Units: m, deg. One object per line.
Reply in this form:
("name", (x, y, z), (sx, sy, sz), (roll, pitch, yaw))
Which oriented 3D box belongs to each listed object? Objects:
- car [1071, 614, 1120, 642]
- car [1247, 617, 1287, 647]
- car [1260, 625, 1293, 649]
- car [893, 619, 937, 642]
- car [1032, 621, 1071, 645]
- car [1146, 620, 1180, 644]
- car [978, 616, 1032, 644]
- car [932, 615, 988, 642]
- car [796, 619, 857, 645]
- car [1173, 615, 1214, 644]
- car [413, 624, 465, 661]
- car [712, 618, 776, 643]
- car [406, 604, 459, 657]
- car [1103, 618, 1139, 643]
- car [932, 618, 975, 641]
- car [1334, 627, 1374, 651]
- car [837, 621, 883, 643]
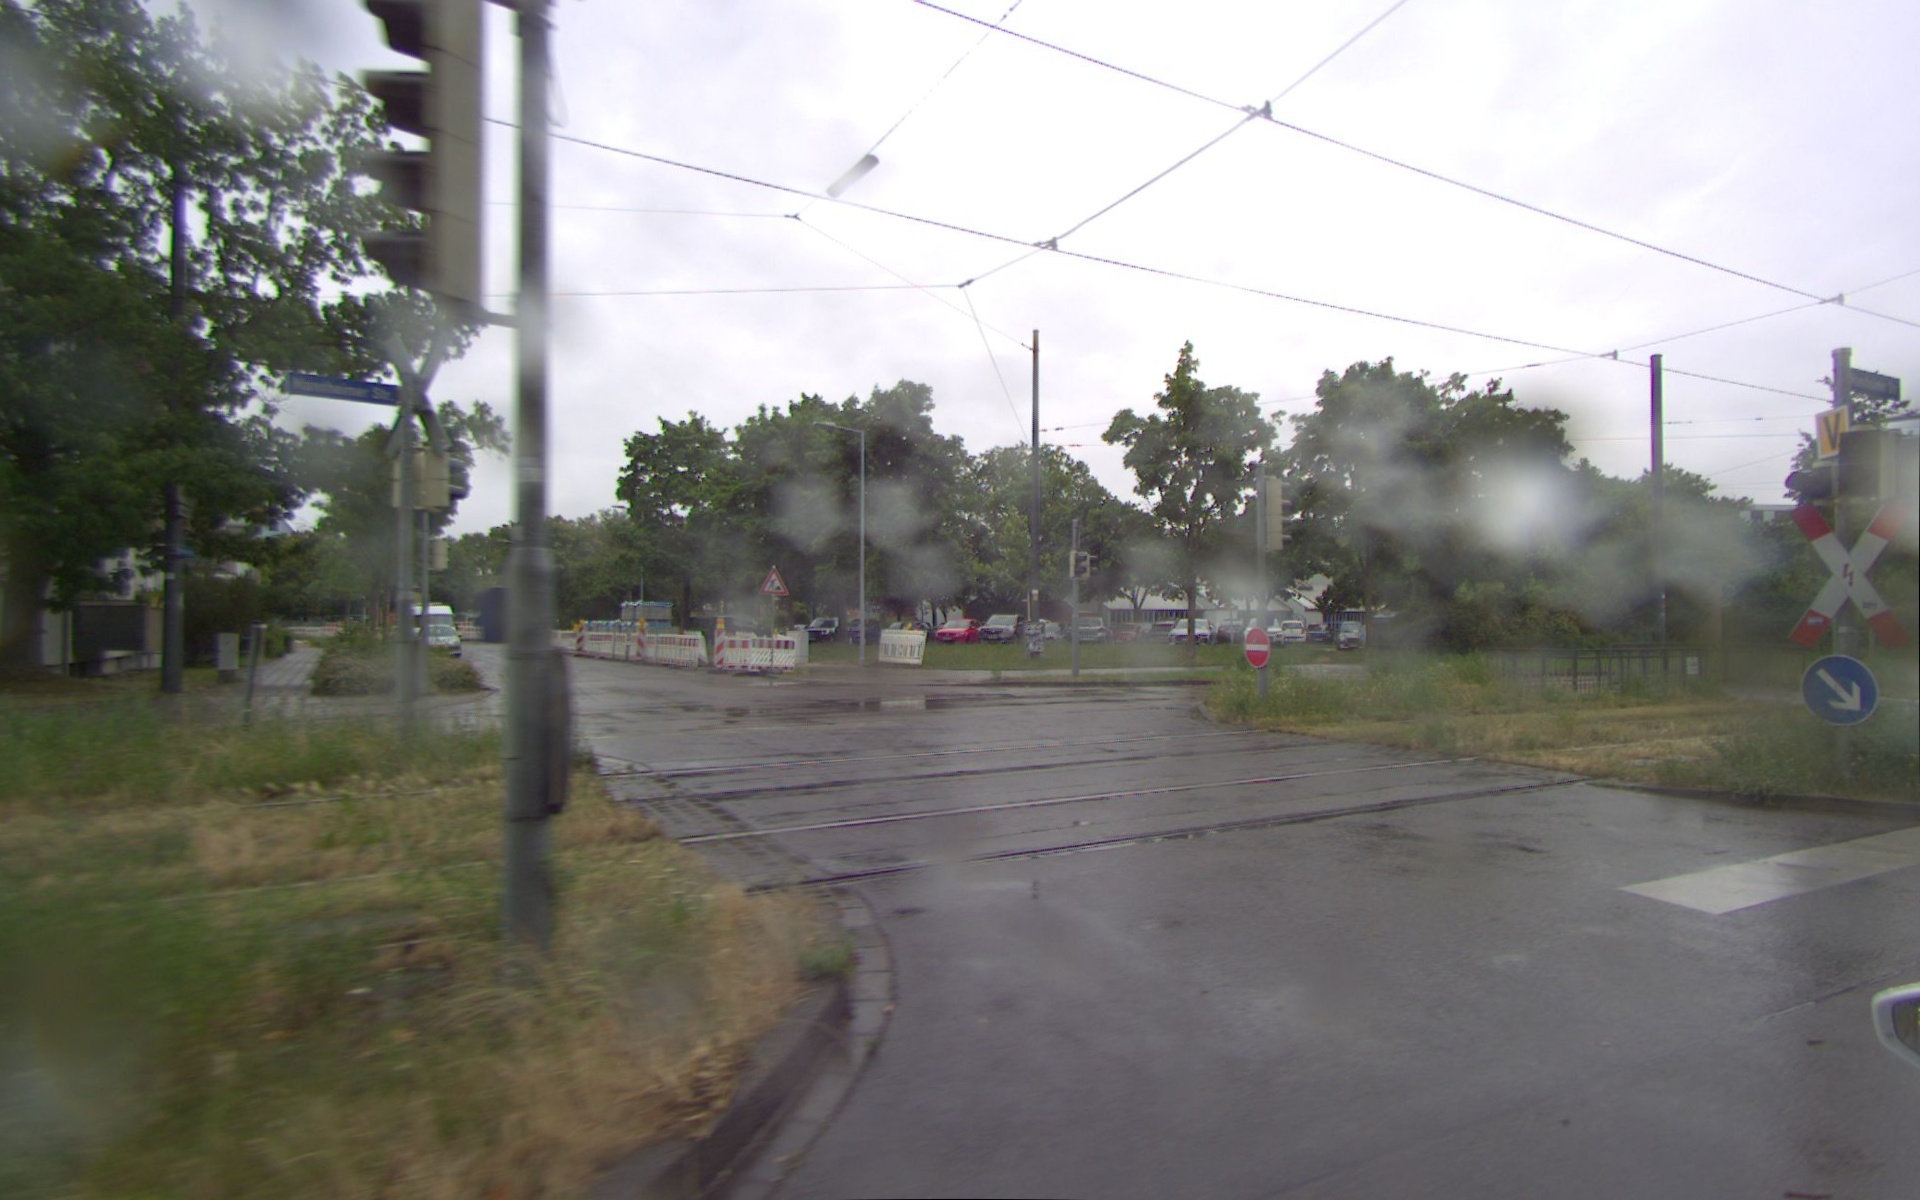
("car", (6.473, 1.354, 47.822), (1.632, 1.265, 3.743), (-1, -2, 18))
("car", (13.659, 1.412, 44.795), (1.632, 1.265, 3.744), (-1, -2, 16))
("car", (17.368, 2.015, 55.241), (1.632, 1.265, 3.744), (-1, -2, 16))
("car", (-2.774, 1.911, 62.800), (1.632, 1.343, 3.744), (-1, -2, 16))
("car", (5.464, 1.955, 59.673), (1.632, 1.343, 3.744), (-1, -2, 16))
("car", (11.555, 1.831, 57.073), (1.632, 1.343, 3.744), (-1, -2, 16))
("car", (2.223, 1.446, 48.358), (1.632, 1.265, 3.743), (-1, -2, 18))
("car", (0.051, 1.419, 49.331), (1.632, 1.265, 3.743), (-1, -2, 18))
("car", (-6.870, 1.658, 52.016), (1.632, 1.265, 3.743), (-1, -2, 18))
("car", (10.601, 1.339, 45.417), (1.632, 1.265, 3.744), (-1, -2, 16))
("car", (-22.854, 1.835, 44.008), (1.734, 1.550, 3.597), (0, -2, -33))
("car", (-11.392, 1.616, 53.087), (1.632, 1.265, 3.743), (-1, -2, 18))
("car", (-26.001, 1.488, 49.447), (1.897, 2.478, 4.431), (0, -2, -33))
("car", (9.344, 1.766, 58.074), (1.632, 1.343, 3.744), (-1, -2, 16))
("car", (-0.347, 1.814, 61.344), (1.632, 1.343, 3.744), (-1, -2, 16))
("car", (21.337, 2.118, 54.489), (1.632, 1.265, 3.744), (-1, -2, 16))
("car", (-6.314, 2.041, 63.557), (1.632, 1.343, 3.744), (-1, -2, 16))
